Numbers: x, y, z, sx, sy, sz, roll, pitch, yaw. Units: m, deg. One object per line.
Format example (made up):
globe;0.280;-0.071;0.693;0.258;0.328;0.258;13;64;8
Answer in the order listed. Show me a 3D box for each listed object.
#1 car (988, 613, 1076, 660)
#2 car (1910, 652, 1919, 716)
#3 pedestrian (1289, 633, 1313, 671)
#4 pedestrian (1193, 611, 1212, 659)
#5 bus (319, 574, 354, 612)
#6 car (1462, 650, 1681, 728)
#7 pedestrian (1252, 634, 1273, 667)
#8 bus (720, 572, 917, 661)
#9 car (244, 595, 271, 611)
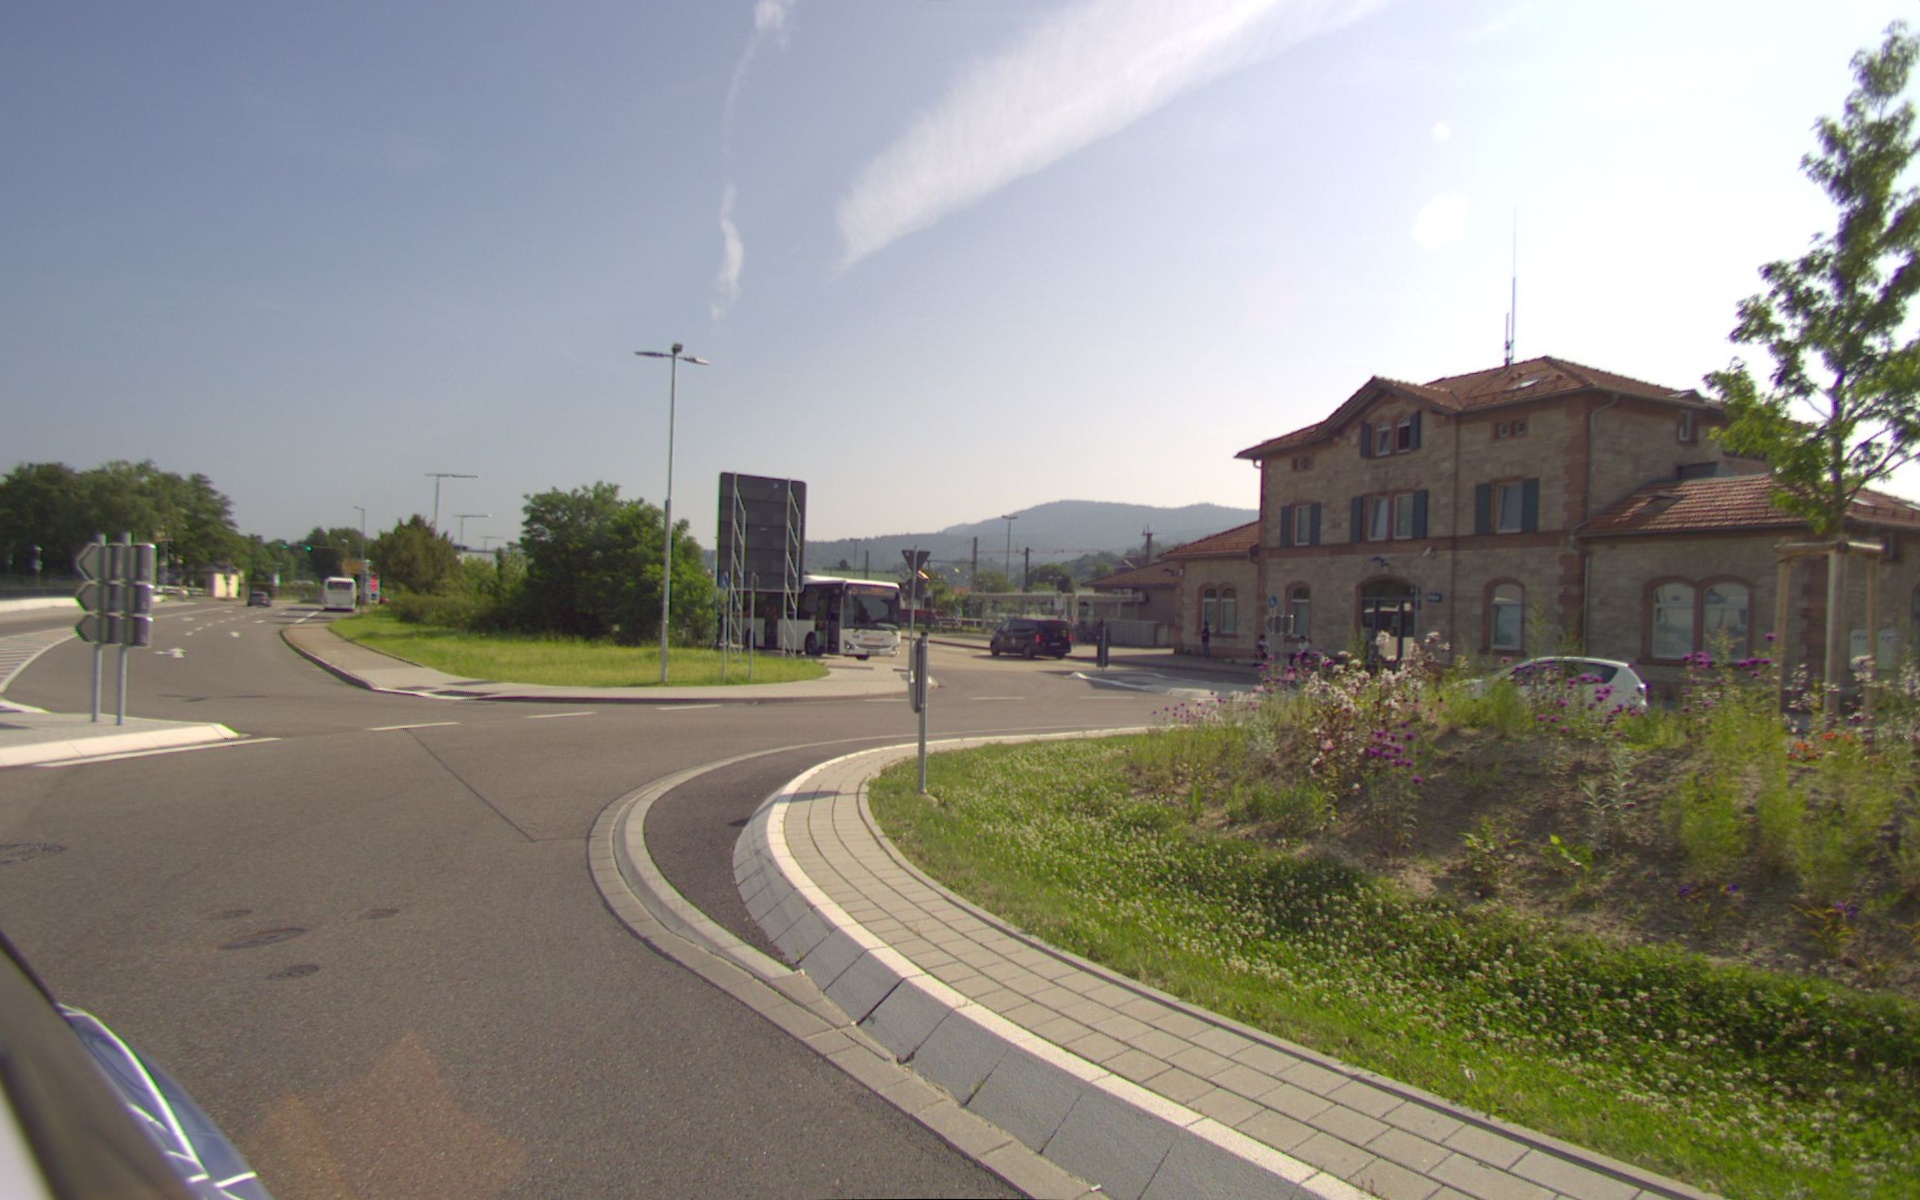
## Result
car;3.250;1.655;47.041;1.813;1.960;4.898;3;-1;-26
car;23.529;1.959;22.298;1.369;1.461;3.548;2;-1;-29
pedestrian;12.427;1.896;36.899;0.557;1.359;0.554;3;-1;-24
pedestrian;10.487;1.506;43.759;0.522;2.029;0.579;3;-1;-9
bus;-60.682;-0.670;98.664;2.584;3.335;11.993;3;-1;-31
car;10.956;1.561;18.364;3.223;1.181;1.382;1;-1;24
pedestrian;11.597;1.926;38.841;0.435;1.213;0.586;3;-1;-27
bus;-6.196;0.668;41.593;3.023;3.147;11.751;2;-2;-35
car;-69.572;0.304;100.301;1.747;1.484;4.233;3;-1;-30
